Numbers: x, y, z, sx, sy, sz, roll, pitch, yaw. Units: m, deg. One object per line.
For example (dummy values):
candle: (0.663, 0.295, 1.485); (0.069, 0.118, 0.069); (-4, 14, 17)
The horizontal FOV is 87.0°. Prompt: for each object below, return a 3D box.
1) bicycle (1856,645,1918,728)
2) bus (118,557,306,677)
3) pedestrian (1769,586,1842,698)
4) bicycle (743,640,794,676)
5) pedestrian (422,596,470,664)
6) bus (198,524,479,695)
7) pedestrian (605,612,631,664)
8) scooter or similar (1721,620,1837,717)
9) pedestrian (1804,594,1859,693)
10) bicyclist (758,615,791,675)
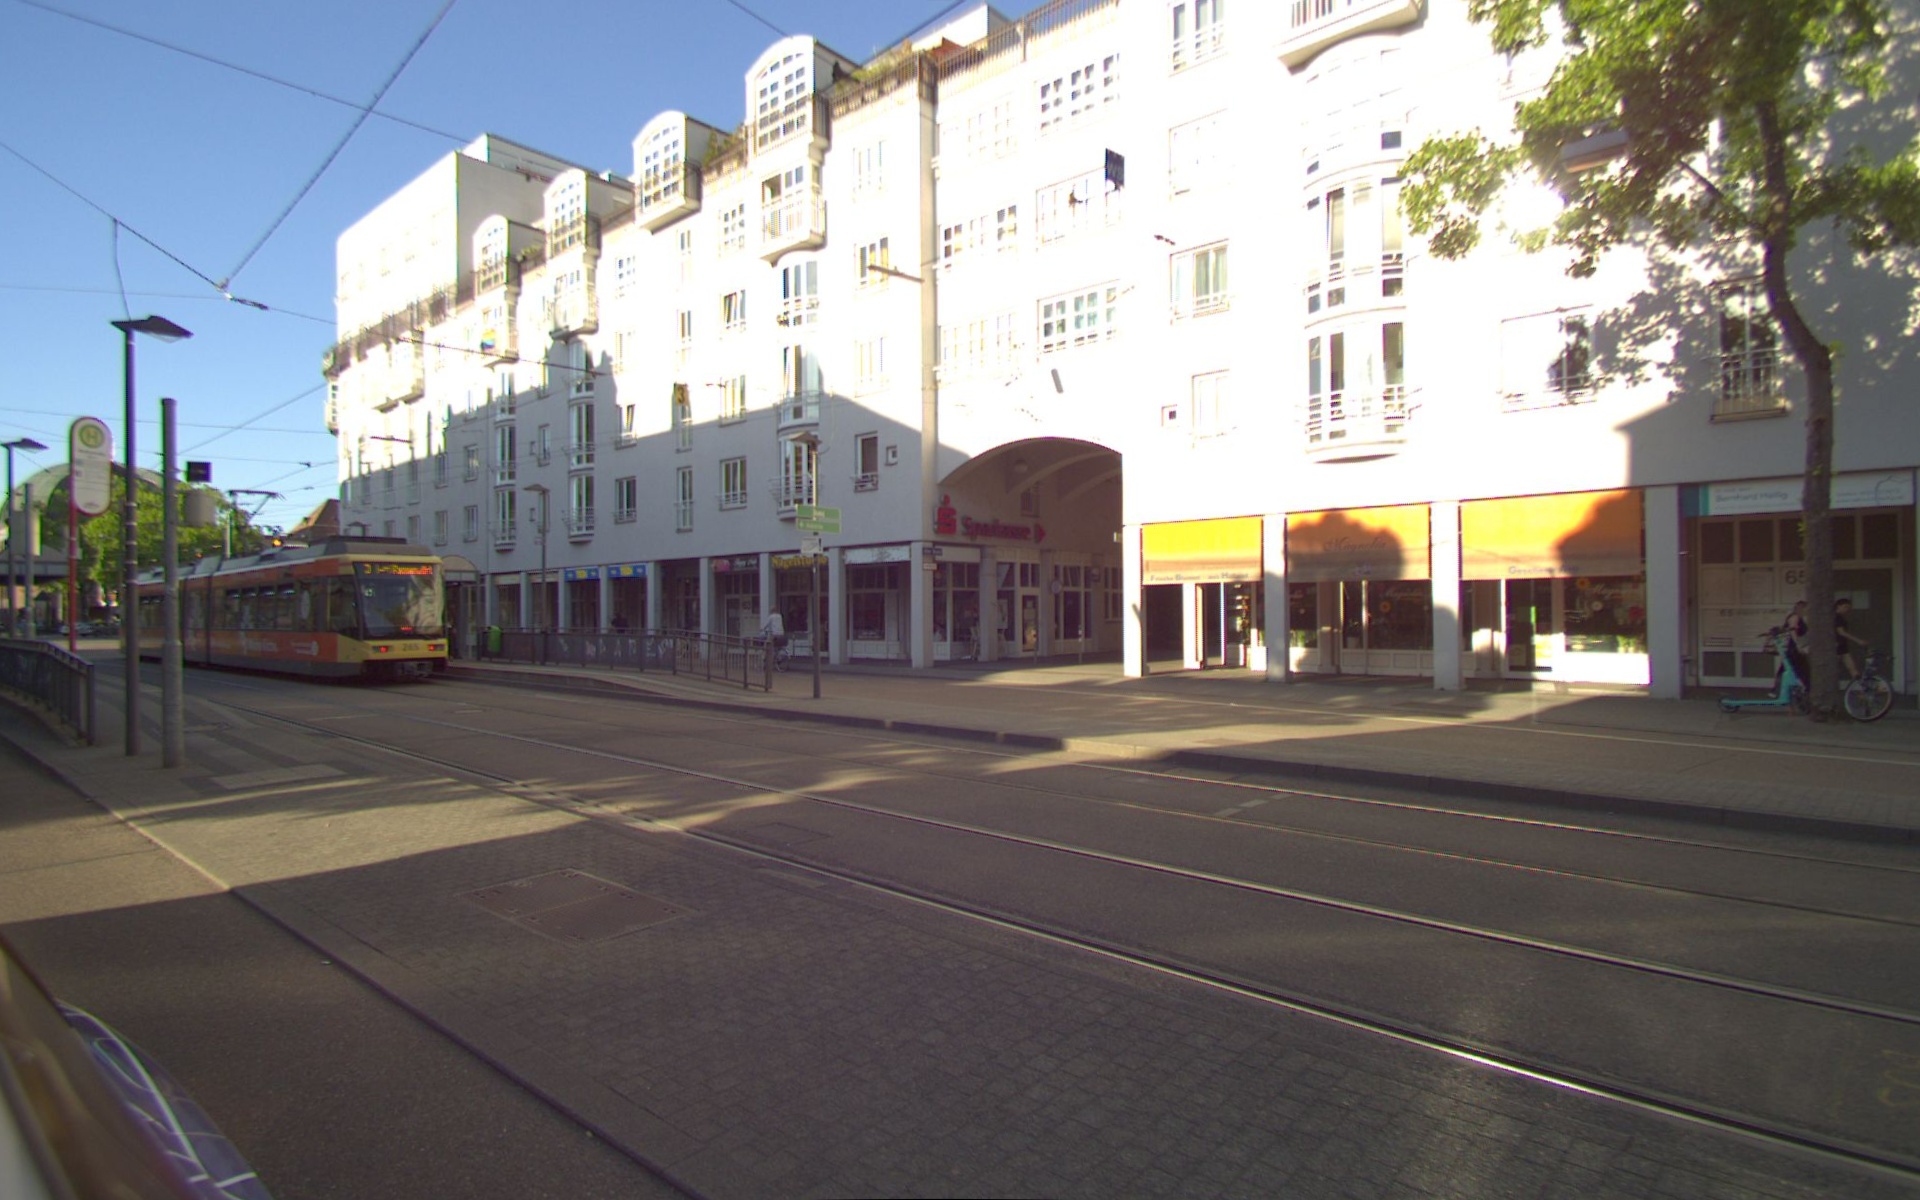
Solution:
bicycle: (12.179, 1.103, 13.321); (0.418, 0.919, 1.755); (-1, 0, 37)
bus: (-26.983, 0.638, 36.057); (13.675, 3.594, 2.781); (-1, -1, 42)
pedestrian: (13.400, 0.651, 16.041); (0.825, 1.729, 0.623); (-2, -1, 43)
bicycle: (-5.647, 1.700, 29.763); (1.726, 0.996, 0.511); (-1, 0, 43)
pedestrian: (-14.172, 0.817, 27.923); (0.977, 1.847, 0.906); (-2, -1, 43)
bus: (-17.071, 0.330, 26.972); (13.677, 3.594, 2.781); (-1, -1, 43)
pedestrian: (-11.460, 1.267, 33.915); (0.706, 1.729, 0.526); (-2, -1, 43)
scooter or similar: (11.510, 0.935, 14.250); (0.372, 1.288, 1.182); (-4, 1, -37)
pedestrian: (14.315, 0.696, 16.618); (0.632, 1.588, 0.553); (-2, -1, 43)
bicyclist: (-5.413, 1.304, 29.537); (0.807, 1.713, 0.508); (-1, 0, 42)
